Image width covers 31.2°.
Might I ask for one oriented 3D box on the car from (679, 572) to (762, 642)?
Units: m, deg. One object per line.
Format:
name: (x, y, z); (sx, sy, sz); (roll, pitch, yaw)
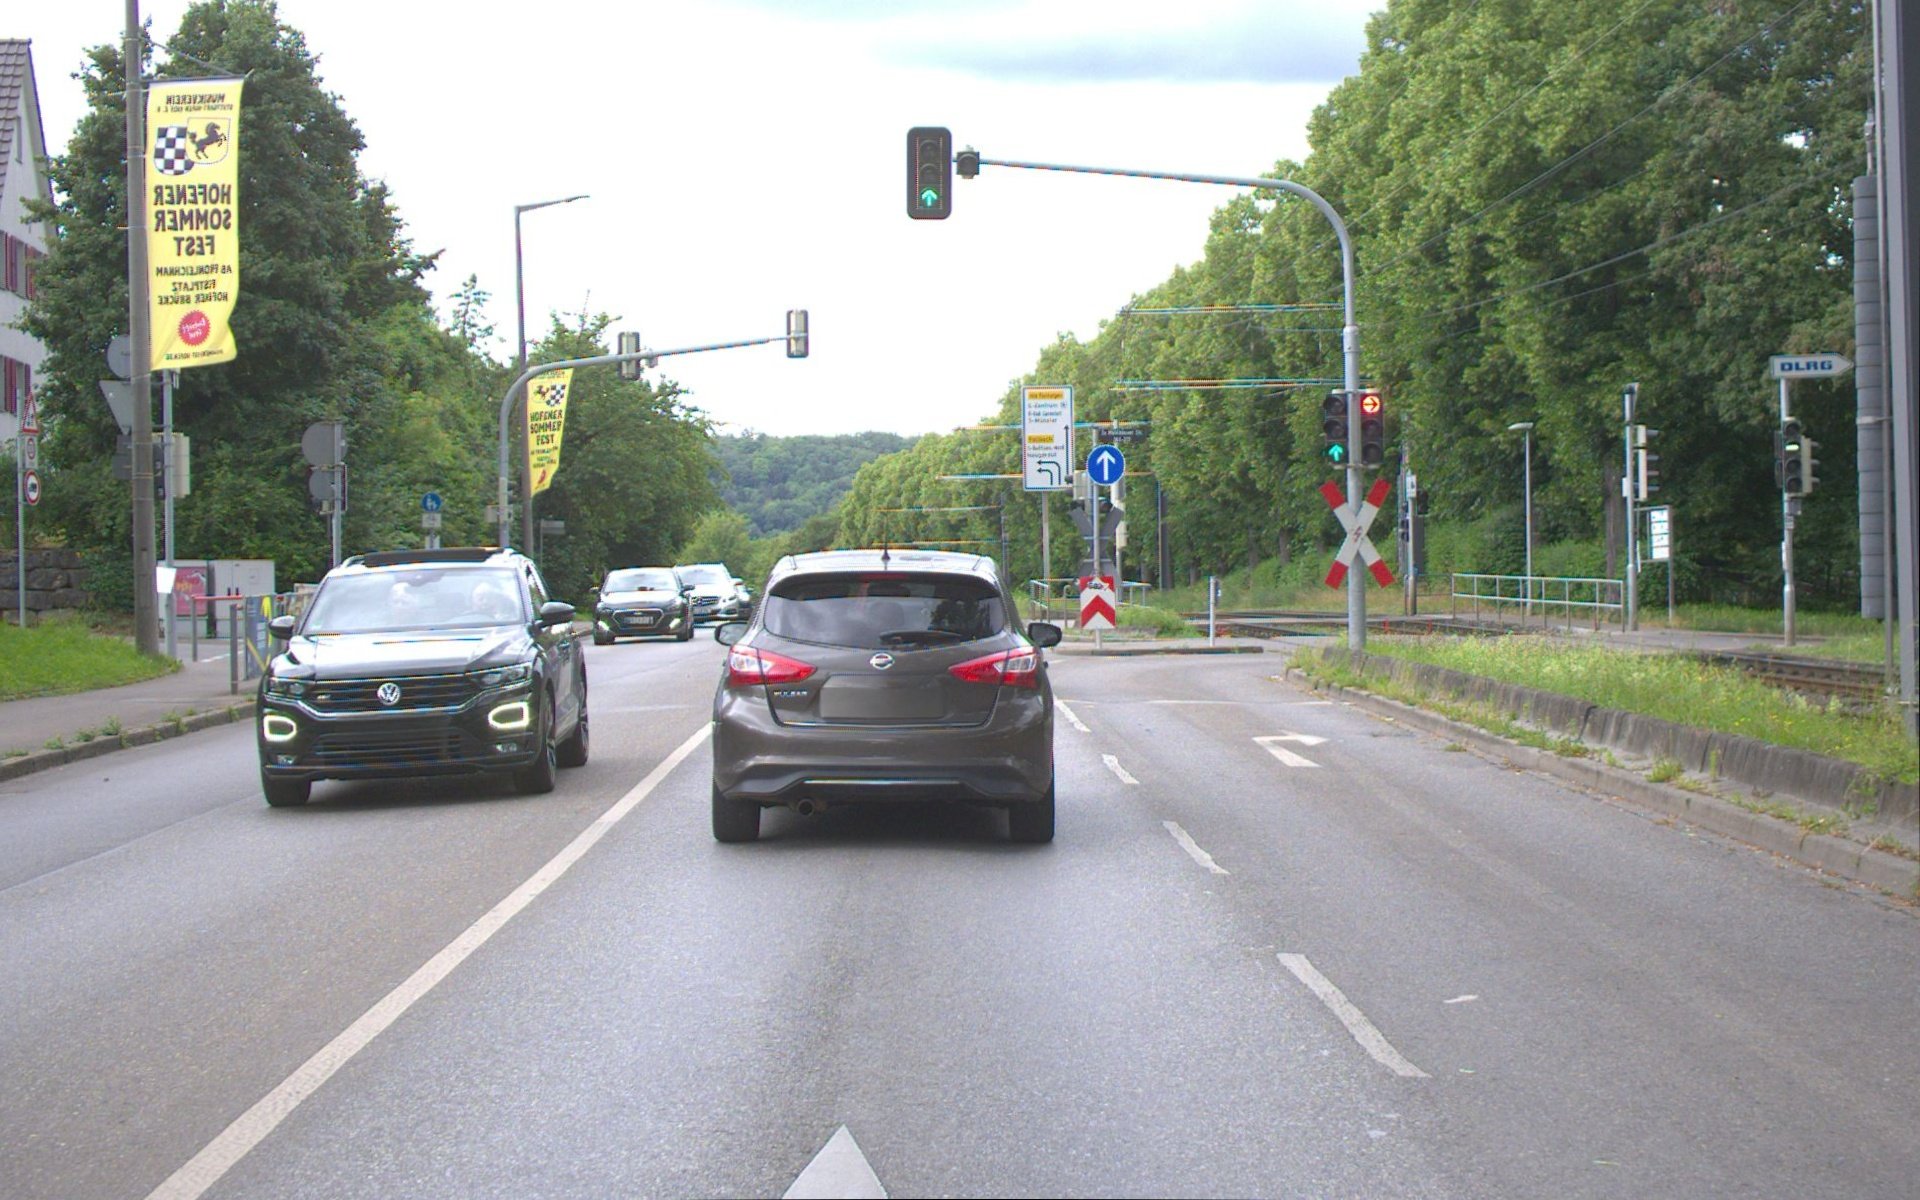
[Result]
car: (-5.664, 0.131, 81.835); (1.818, 1.561, 5.206); (0, 1, -2)

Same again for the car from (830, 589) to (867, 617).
car: (-5.511, 0.142, 169.837); (1.741, 1.305, 4.001); (1, 1, -2)

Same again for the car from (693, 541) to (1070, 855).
car: (-0.402, 0.446, 19.186); (1.835, 1.514, 4.483); (1, 1, 0)

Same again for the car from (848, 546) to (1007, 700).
car: (-0.336, 0.204, 36.168); (1.538, 1.473, 3.764); (-2, 1, 0)

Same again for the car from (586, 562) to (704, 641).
car: (-6.013, 0.013, 65.999); (1.812, 1.368, 4.160); (2, 1, 0)

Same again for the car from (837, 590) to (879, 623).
car: (-4.444, 0.280, 149.503); (1.741, 1.305, 4.001); (1, 1, -2)

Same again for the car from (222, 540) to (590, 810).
car: (-3.504, 0.411, 22.449); (1.812, 1.519, 4.178); (-2, 1, -2)
